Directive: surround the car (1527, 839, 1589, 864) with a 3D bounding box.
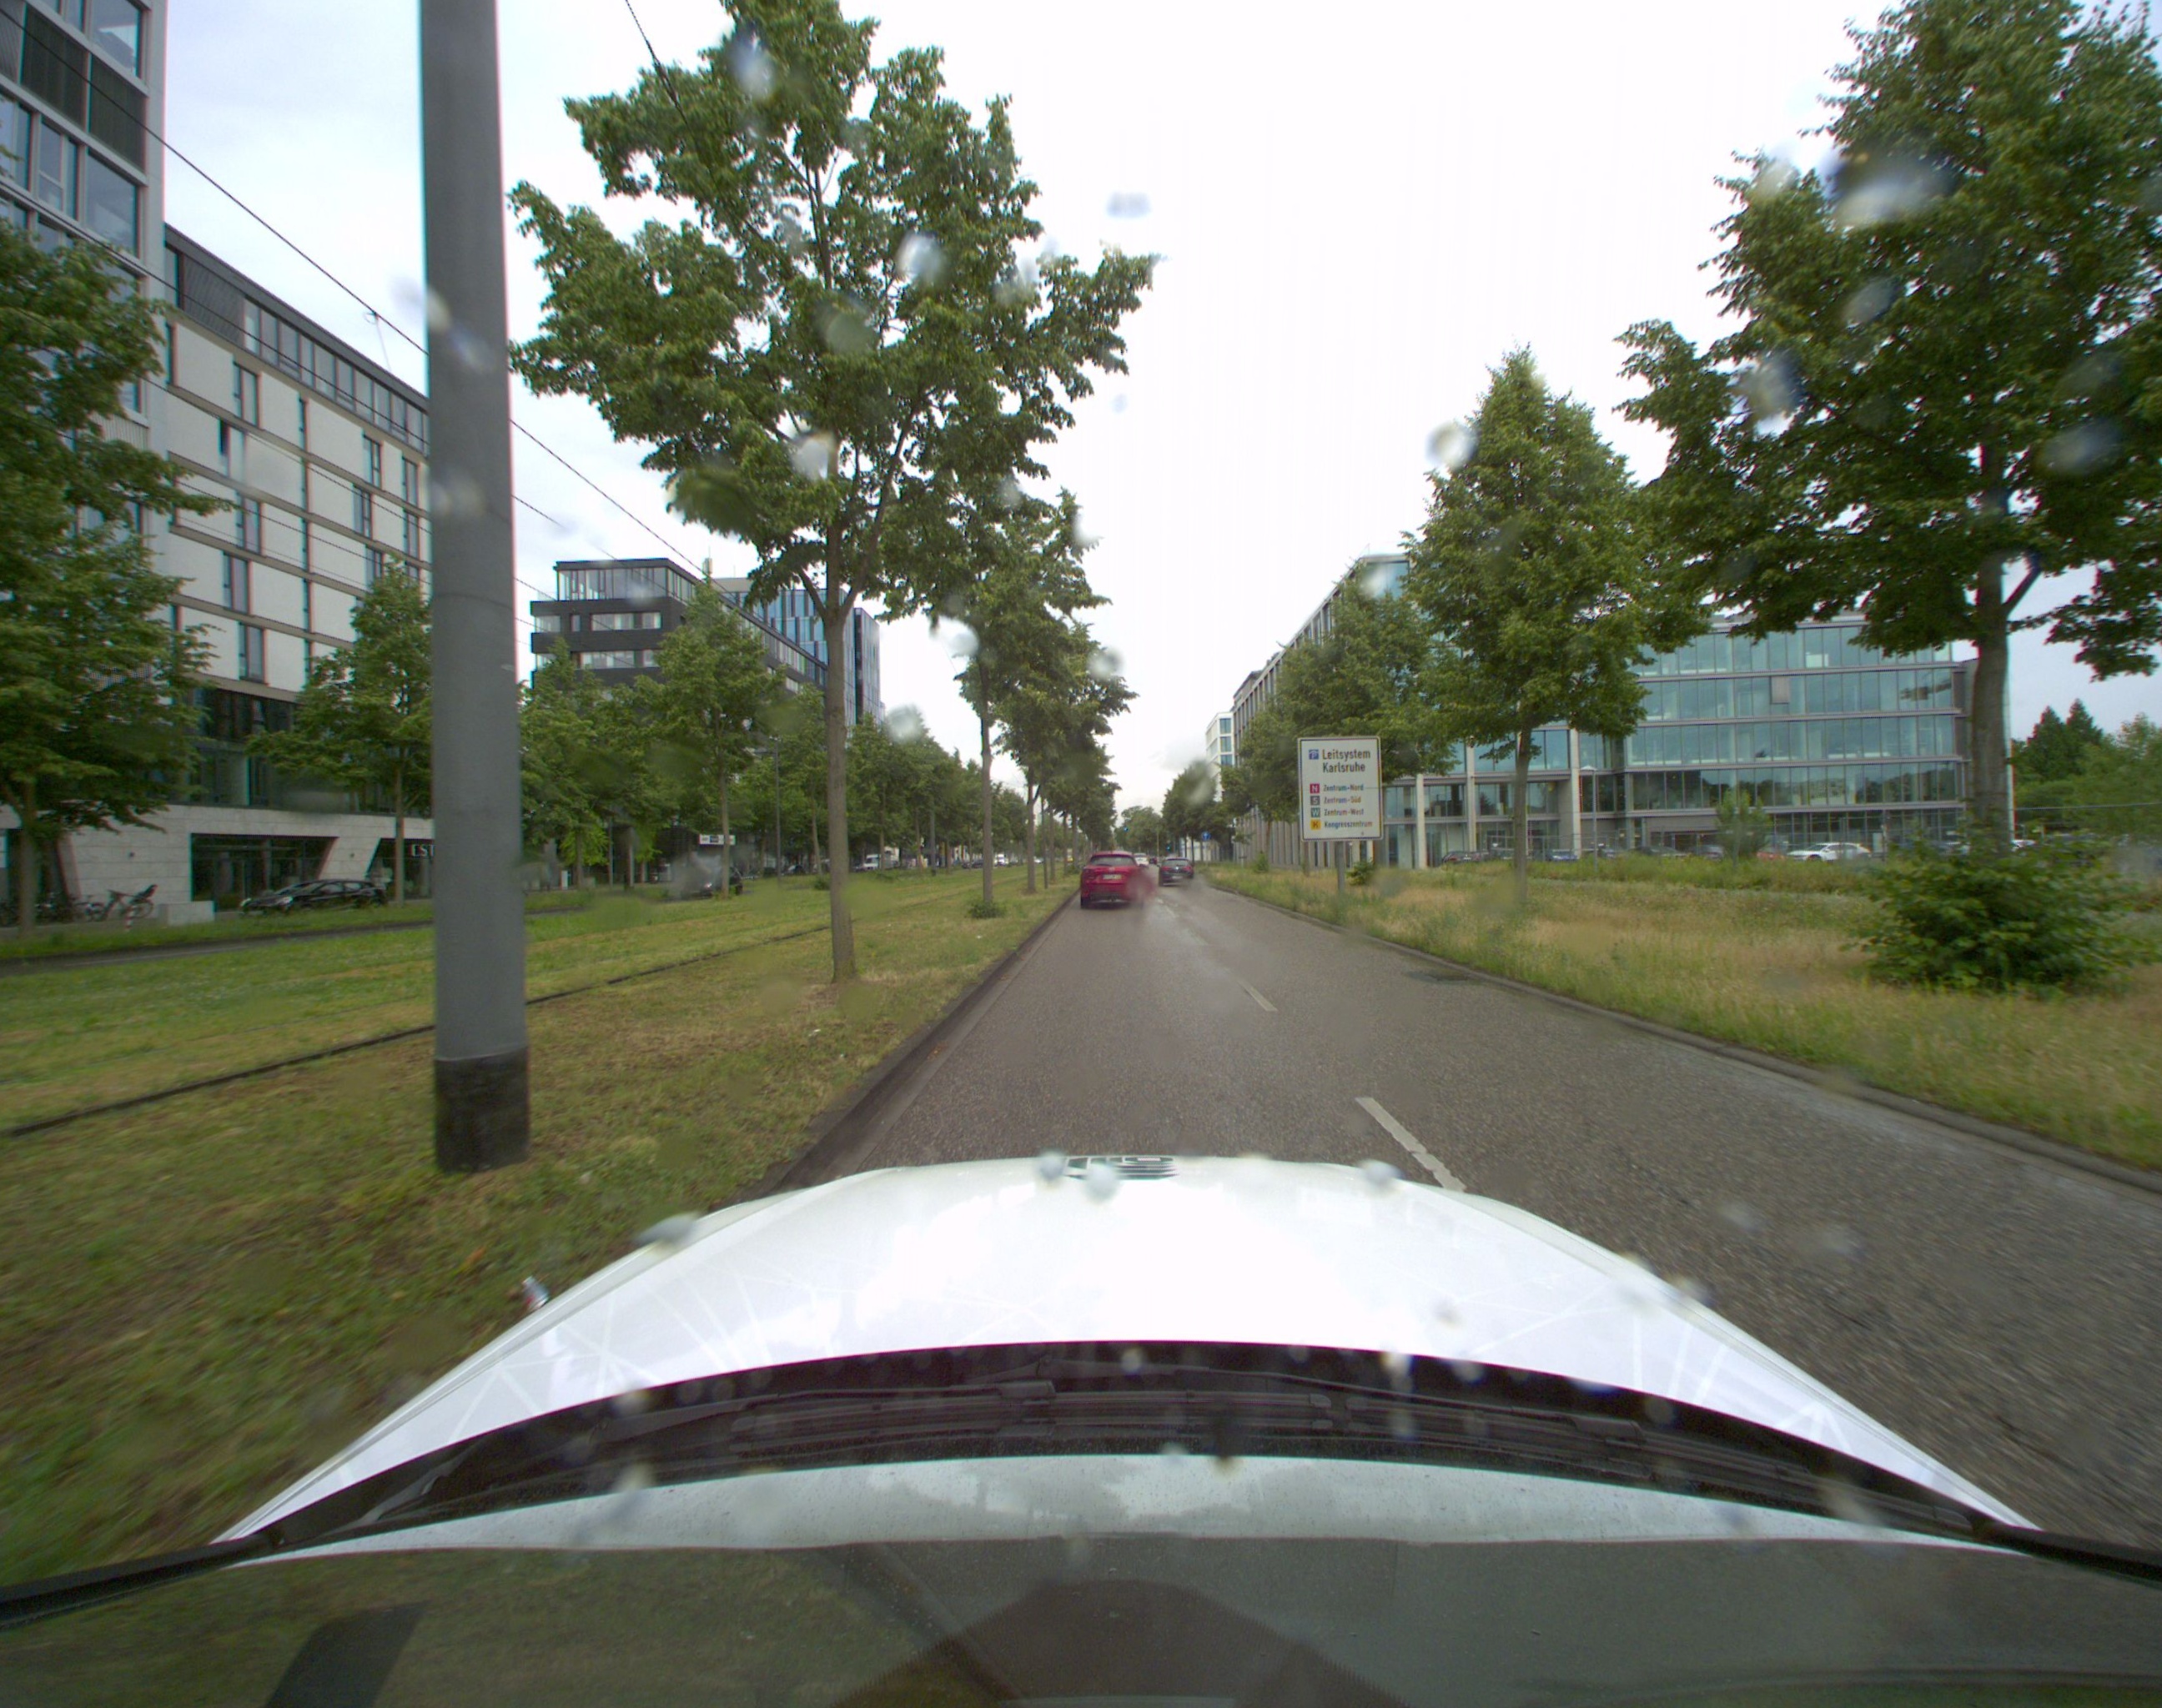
[{"bbox_3d":[29.472,-0.158,50.451,1.845,1.455,4.008,-1,0,7],"label":"car"}]

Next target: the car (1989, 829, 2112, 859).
[{"bbox_3d":[49.962,-0.500,42.091,1.689,1.446,4.035,-1,0,3],"label":"car"}]

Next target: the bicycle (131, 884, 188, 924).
[{"bbox_3d":[-36.483,1.961,32.236,1.562,1.538,0.607,-1,0,1],"label":"bicycle"}]

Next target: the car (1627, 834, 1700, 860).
[{"bbox_3d":[35.191,-0.384,49.355,1.776,1.475,4.239,-1,0,7],"label":"car"}]

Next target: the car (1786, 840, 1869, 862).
[{"bbox_3d":[52.412,-0.229,57.250,3.965,1.437,1.865,-1,1,7],"label":"car"}]

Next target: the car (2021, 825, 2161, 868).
[{"bbox_3d":[40.310,-0.293,32.143,1.845,1.601,4.242,-1,0,7],"label":"car"}]

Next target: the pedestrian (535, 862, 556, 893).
[{"bbox_3d":[-35.541,1.567,54.046,0.791,1.981,0.857,-1,0,4],"label":"pedestrian"}]

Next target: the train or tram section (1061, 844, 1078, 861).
[{"bbox_3d":[-2.589,-0.244,187.464,3.117,3.659,13.413,-1,0,2],"label":"train or tram section"}]

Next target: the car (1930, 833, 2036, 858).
[{"bbox_3d":[51.622,-0.483,46.718,1.690,1.352,4.033,-1,0,1],"label":"car"}]

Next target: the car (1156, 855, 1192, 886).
[{"bbox_3d":[4.671,0.797,41.079,1.735,1.465,3.788,-1,0,6],"label":"car"}]

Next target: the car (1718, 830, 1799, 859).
[{"bbox_3d":[40.232,-0.552,48.515,1.845,1.601,4.008,-1,0,7],"label":"car"}]

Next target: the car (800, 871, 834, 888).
[{"bbox_3d":[-24.876,2.352,76.927,1.695,1.449,4.243,-1,0,2],"label":"car"}]

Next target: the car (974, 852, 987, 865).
[{"bbox_3d":[-21.014,0.953,170.851,2.250,2.561,4.651,-1,0,-2],"label":"car"}]

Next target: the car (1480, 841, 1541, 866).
[{"bbox_3d":[26.456,-0.016,50.368,1.845,1.455,4.566,-1,0,7],"label":"car"}]

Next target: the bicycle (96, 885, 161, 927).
[{"bbox_3d":[-36.264,1.960,31.018,1.697,1.538,0.681,-1,0,1],"label":"bicycle"}]

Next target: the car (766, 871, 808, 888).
[{"bbox_3d":[-25.489,2.193,70.731,1.986,1.378,4.002,-1,0,2],"label":"car"}]

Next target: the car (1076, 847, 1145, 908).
[{"bbox_3d":[0.890,0.651,24.720,1.891,1.677,4.001,-1,0,1],"label":"car"}]

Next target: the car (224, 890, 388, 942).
[{"bbox_3d":[-26.947,2.115,28.530,1.848,1.465,3.990,-1,0,2],"label":"car"}]

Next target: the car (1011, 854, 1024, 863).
[{"bbox_3d":[-11.708,0.832,149.604,1.855,1.524,4.482,-1,0,2],"label":"car"}]

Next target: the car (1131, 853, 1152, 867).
[{"bbox_3d":[6.353,0.638,85.915,1.960,1.437,4.553,0,0,1],"label":"car"}]

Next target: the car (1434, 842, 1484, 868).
[{"bbox_3d":[23.757,0.062,51.284,1.844,1.581,4.011,-1,0,9],"label":"car"}]

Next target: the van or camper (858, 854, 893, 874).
[{"bbox_3d":[-24.605,1.161,97.685,2.423,2.315,5.853,-1,0,2],"label":"van or camper"}]

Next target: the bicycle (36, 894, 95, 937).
[{"bbox_3d":[-36.423,2.185,29.206,1.427,1.482,0.546,-1,0,1],"label":"bicycle"}]

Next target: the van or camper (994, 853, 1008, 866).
[{"bbox_3d":[-15.437,1.097,158.030,1.902,2.410,5.405,-1,0,3],"label":"van or camper"}]

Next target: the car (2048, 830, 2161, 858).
[{"bbox_3d":[52.160,-0.502,41.315,1.687,1.352,4.039,-1,0,6],"label":"car"}]

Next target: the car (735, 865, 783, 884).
[{"bbox_3d":[-25.328,1.604,64.215,1.986,1.378,4.002,-1,0,2],"label":"car"}]

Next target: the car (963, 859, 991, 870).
[{"bbox_3d":[-16.147,1.625,126.645,1.975,1.521,4.710,-1,0,29],"label":"car"}]

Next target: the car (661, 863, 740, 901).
[{"bbox_3d":[-18.719,1.343,40.256,1.985,1.656,3.702,-1,0,2],"label":"car"}]
